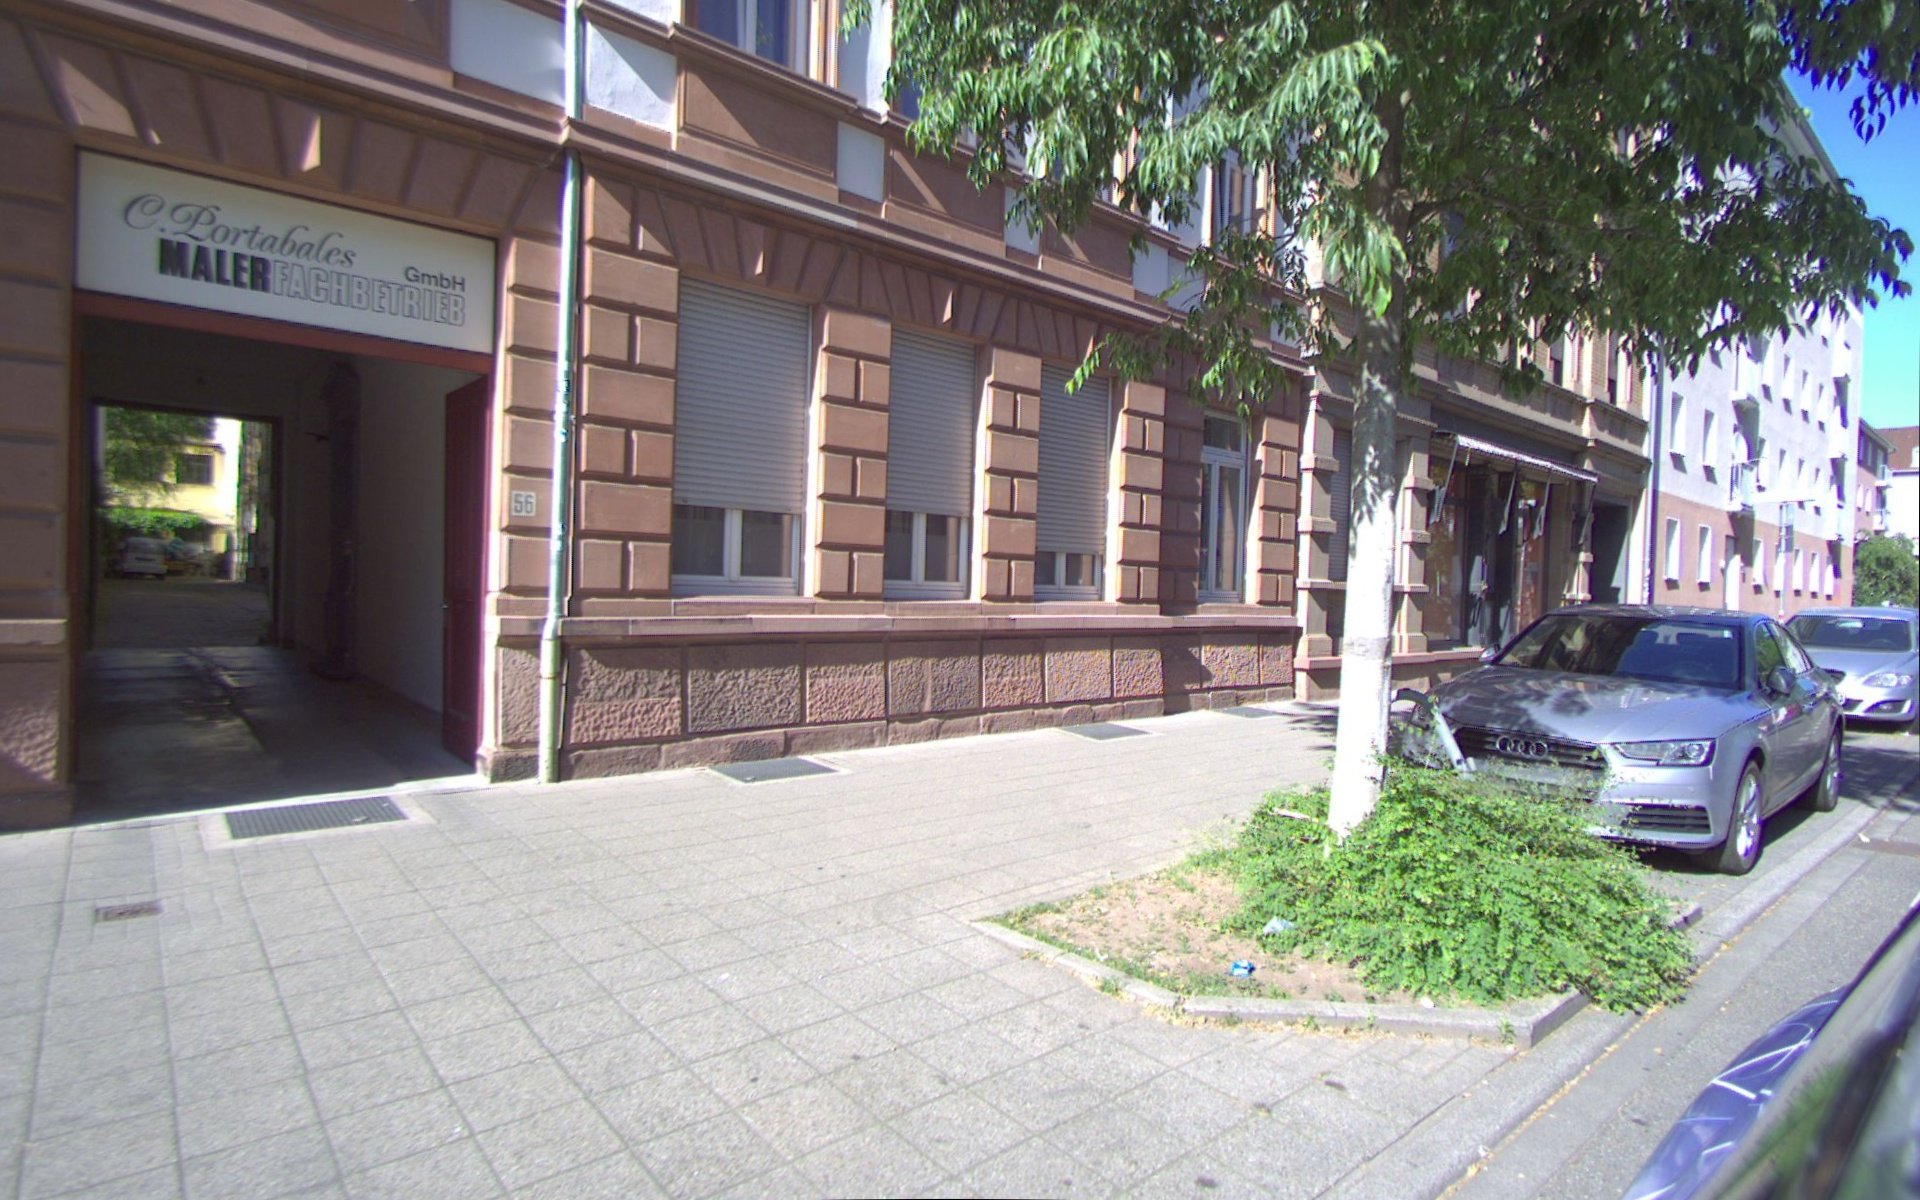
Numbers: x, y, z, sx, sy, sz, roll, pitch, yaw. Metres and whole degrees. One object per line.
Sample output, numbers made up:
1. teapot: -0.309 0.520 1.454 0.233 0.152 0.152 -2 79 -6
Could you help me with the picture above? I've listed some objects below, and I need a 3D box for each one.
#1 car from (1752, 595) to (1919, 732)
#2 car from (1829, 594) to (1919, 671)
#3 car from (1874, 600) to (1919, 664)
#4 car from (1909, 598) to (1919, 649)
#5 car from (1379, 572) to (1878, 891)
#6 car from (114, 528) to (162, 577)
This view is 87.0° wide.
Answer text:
1. car: 11.744 0.725 13.021 3.930 1.469 1.741 1 1 -42
2. car: 20.099 0.654 21.688 3.645 1.498 1.712 1 1 -41
3. car: 24.395 0.804 25.136 4.434 1.478 1.791 1 2 -39
4. car: 30.127 0.749 30.579 3.729 1.504 1.734 1 3 -42
5. car: 4.686 0.690 6.810 4.232 1.470 1.741 4 -1 -42
6. car: -38.703 -2.225 47.624 1.644 2.170 3.995 1 2 -41
